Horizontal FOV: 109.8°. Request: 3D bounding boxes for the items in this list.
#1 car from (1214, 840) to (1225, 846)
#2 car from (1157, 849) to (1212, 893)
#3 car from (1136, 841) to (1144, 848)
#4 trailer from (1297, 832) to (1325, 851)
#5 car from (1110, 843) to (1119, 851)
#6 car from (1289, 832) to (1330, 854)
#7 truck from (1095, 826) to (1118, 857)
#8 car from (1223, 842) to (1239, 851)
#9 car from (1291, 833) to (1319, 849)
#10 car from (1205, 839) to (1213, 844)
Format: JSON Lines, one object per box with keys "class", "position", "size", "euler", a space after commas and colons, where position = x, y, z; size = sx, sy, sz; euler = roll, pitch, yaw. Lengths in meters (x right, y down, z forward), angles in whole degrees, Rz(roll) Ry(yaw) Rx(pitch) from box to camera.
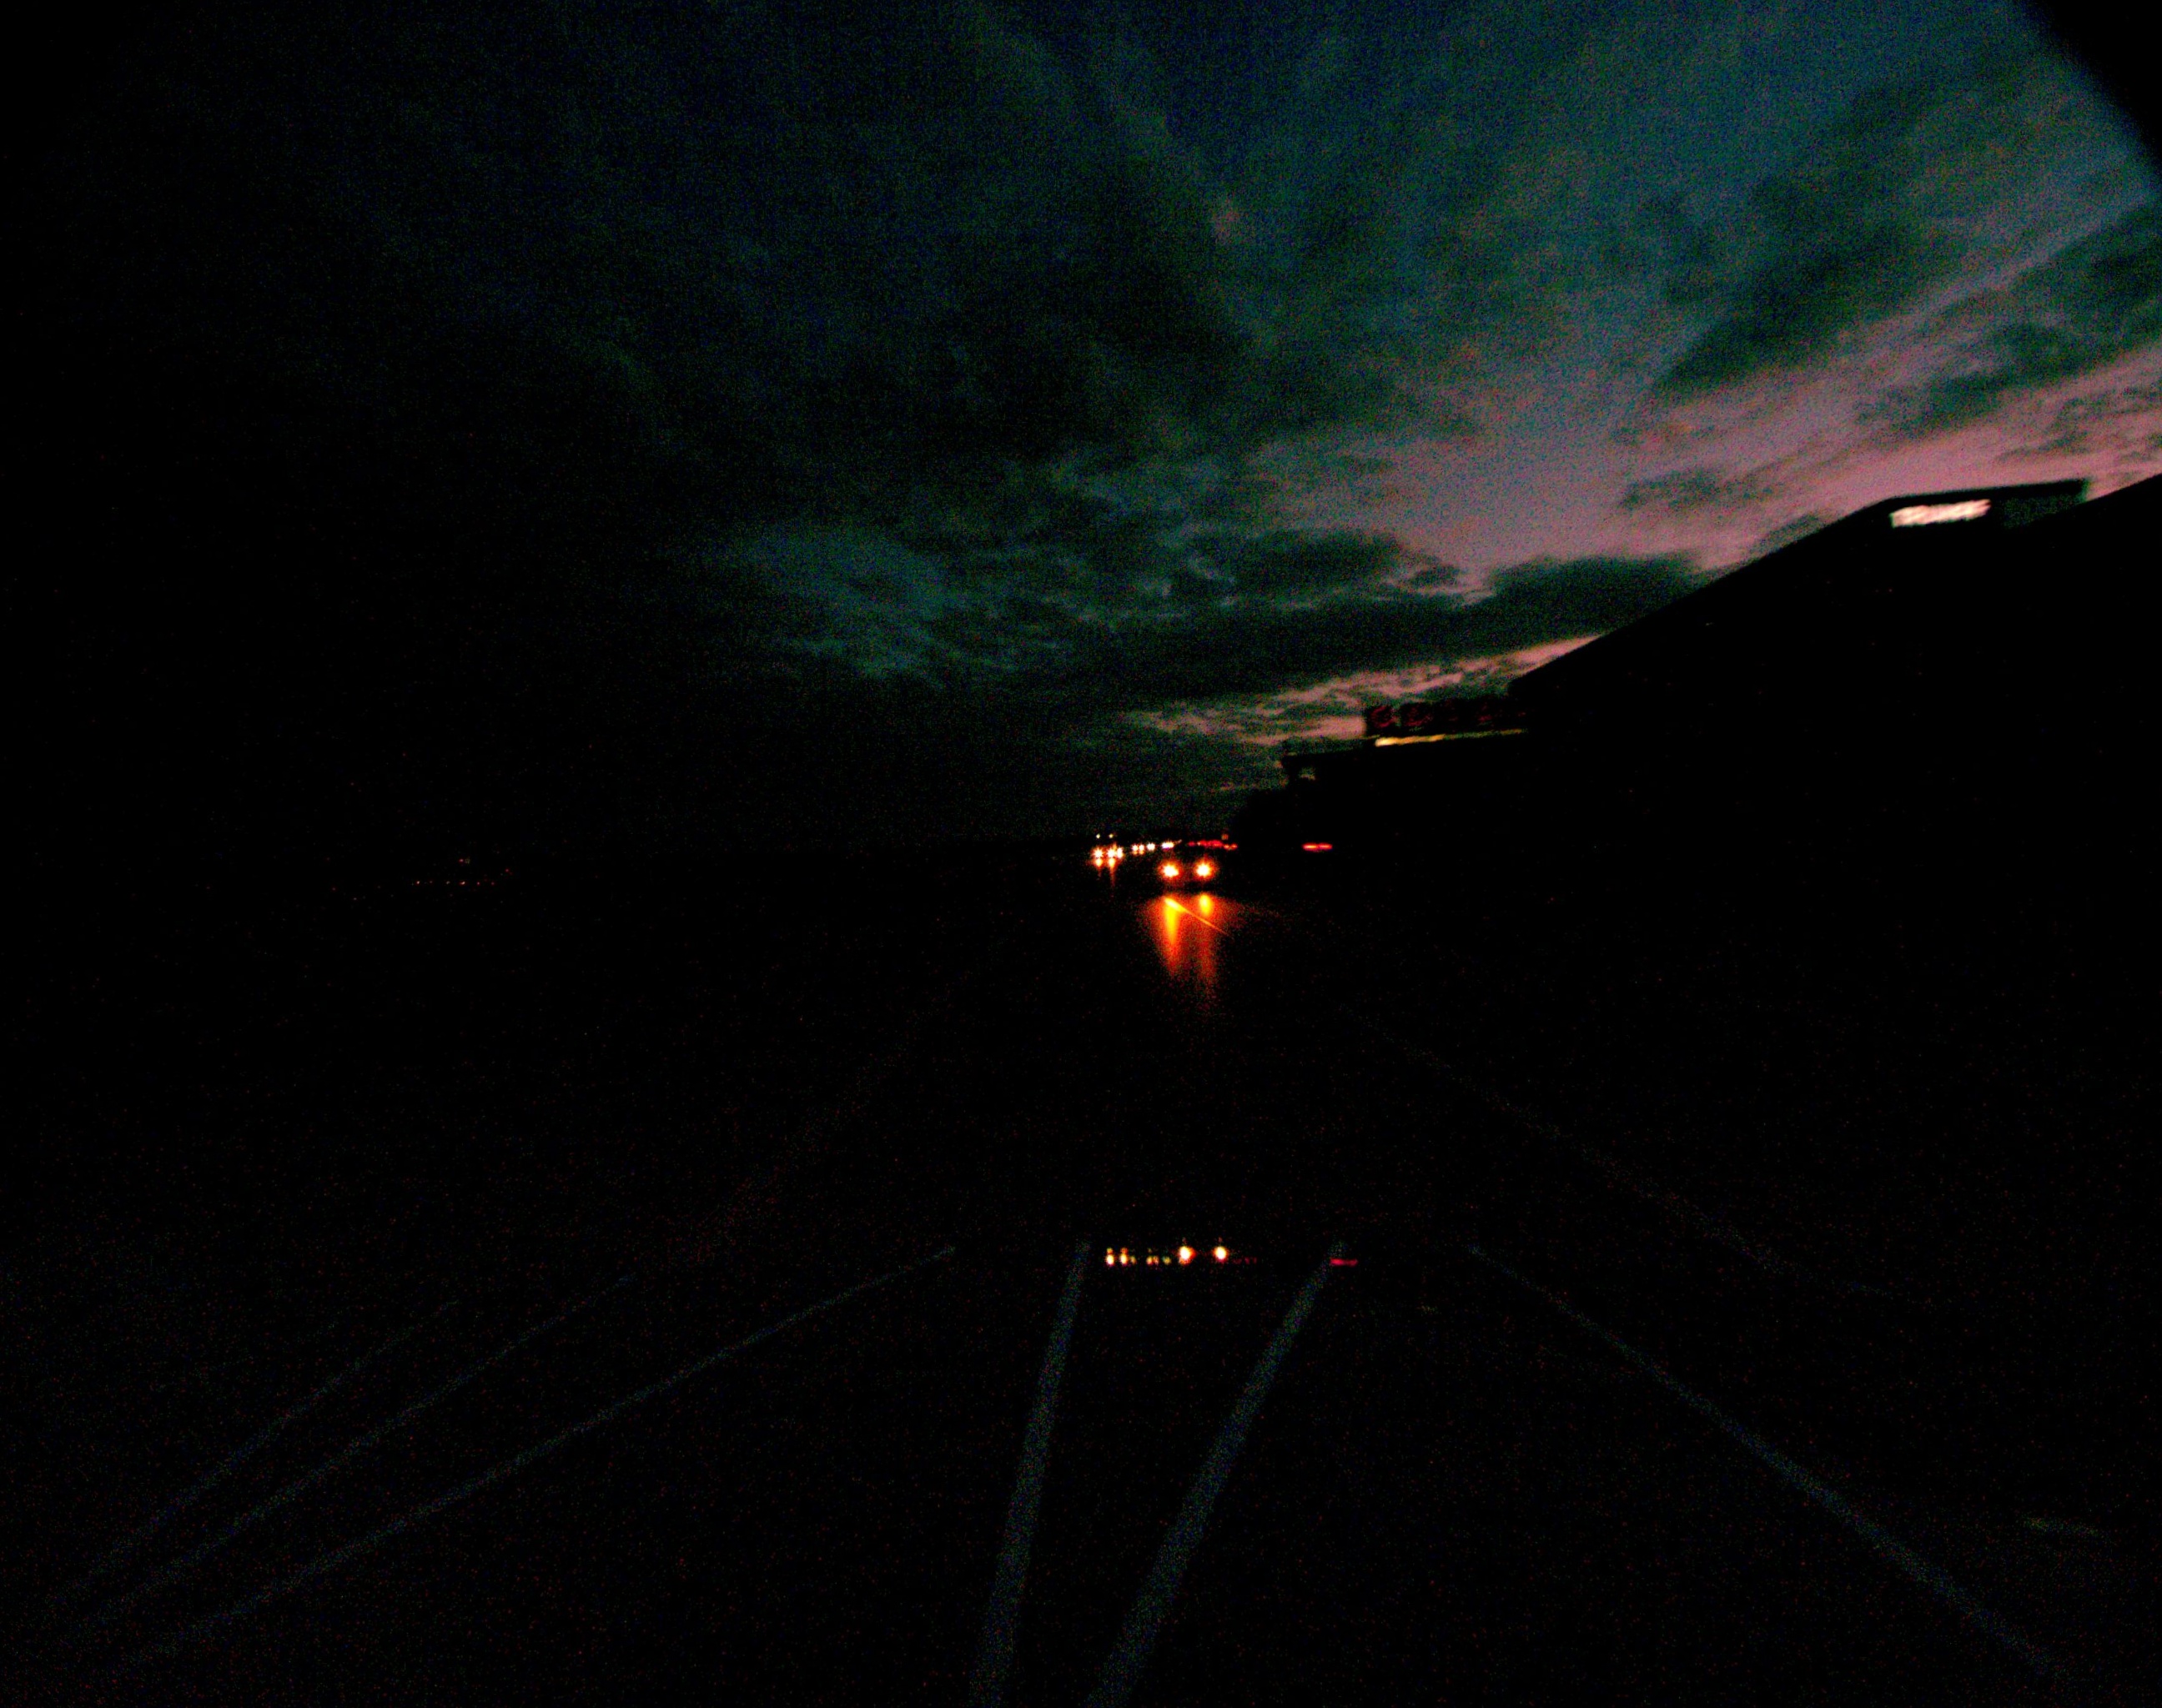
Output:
{"class": "car", "position": [35.598, -2.790, 195.538], "size": [1.998, 1.525, 5.007], "euler": [-3, 1, 4]}
{"class": "car", "position": [4.017, 0.629, 30.088], "size": [1.717, 1.471, 4.000], "euler": [-3, 1, 2]}
{"class": "car", "position": [14.578, -2.290, 188.036], "size": [1.653, 1.654, 3.775], "euler": [-3, 1, 2]}
{"class": "trailer", "position": [26.291, -1.413, 86.973], "size": [1.917, 1.991, 4.240], "euler": [-4, 0, 2]}
{"class": "car", "position": [7.380, -1.561, 167.785], "size": [1.998, 1.715, 4.000], "euler": [-3, 1, 2]}
{"class": "car", "position": [20.805, -1.000, 69.409], "size": [1.918, 1.857, 6.014], "euler": [-3, 1, 0]}
{"class": "truck", "position": [3.913, -1.896, 116.144], "size": [3.026, 4.372, 11.614], "euler": [-3, 1, 2]}
{"class": "car", "position": [24.659, -1.298, 125.069], "size": [1.693, 1.346, 4.897], "euler": [-3, 1, 2]}
{"class": "car", "position": [27.166, -1.585, 92.308], "size": [1.917, 1.857, 5.523], "euler": [-3, 1, 2]}
{"class": "car", "position": [42.647, -4.238, 253.357], "size": [1.998, 1.497, 4.506], "euler": [-3, 1, 4]}
